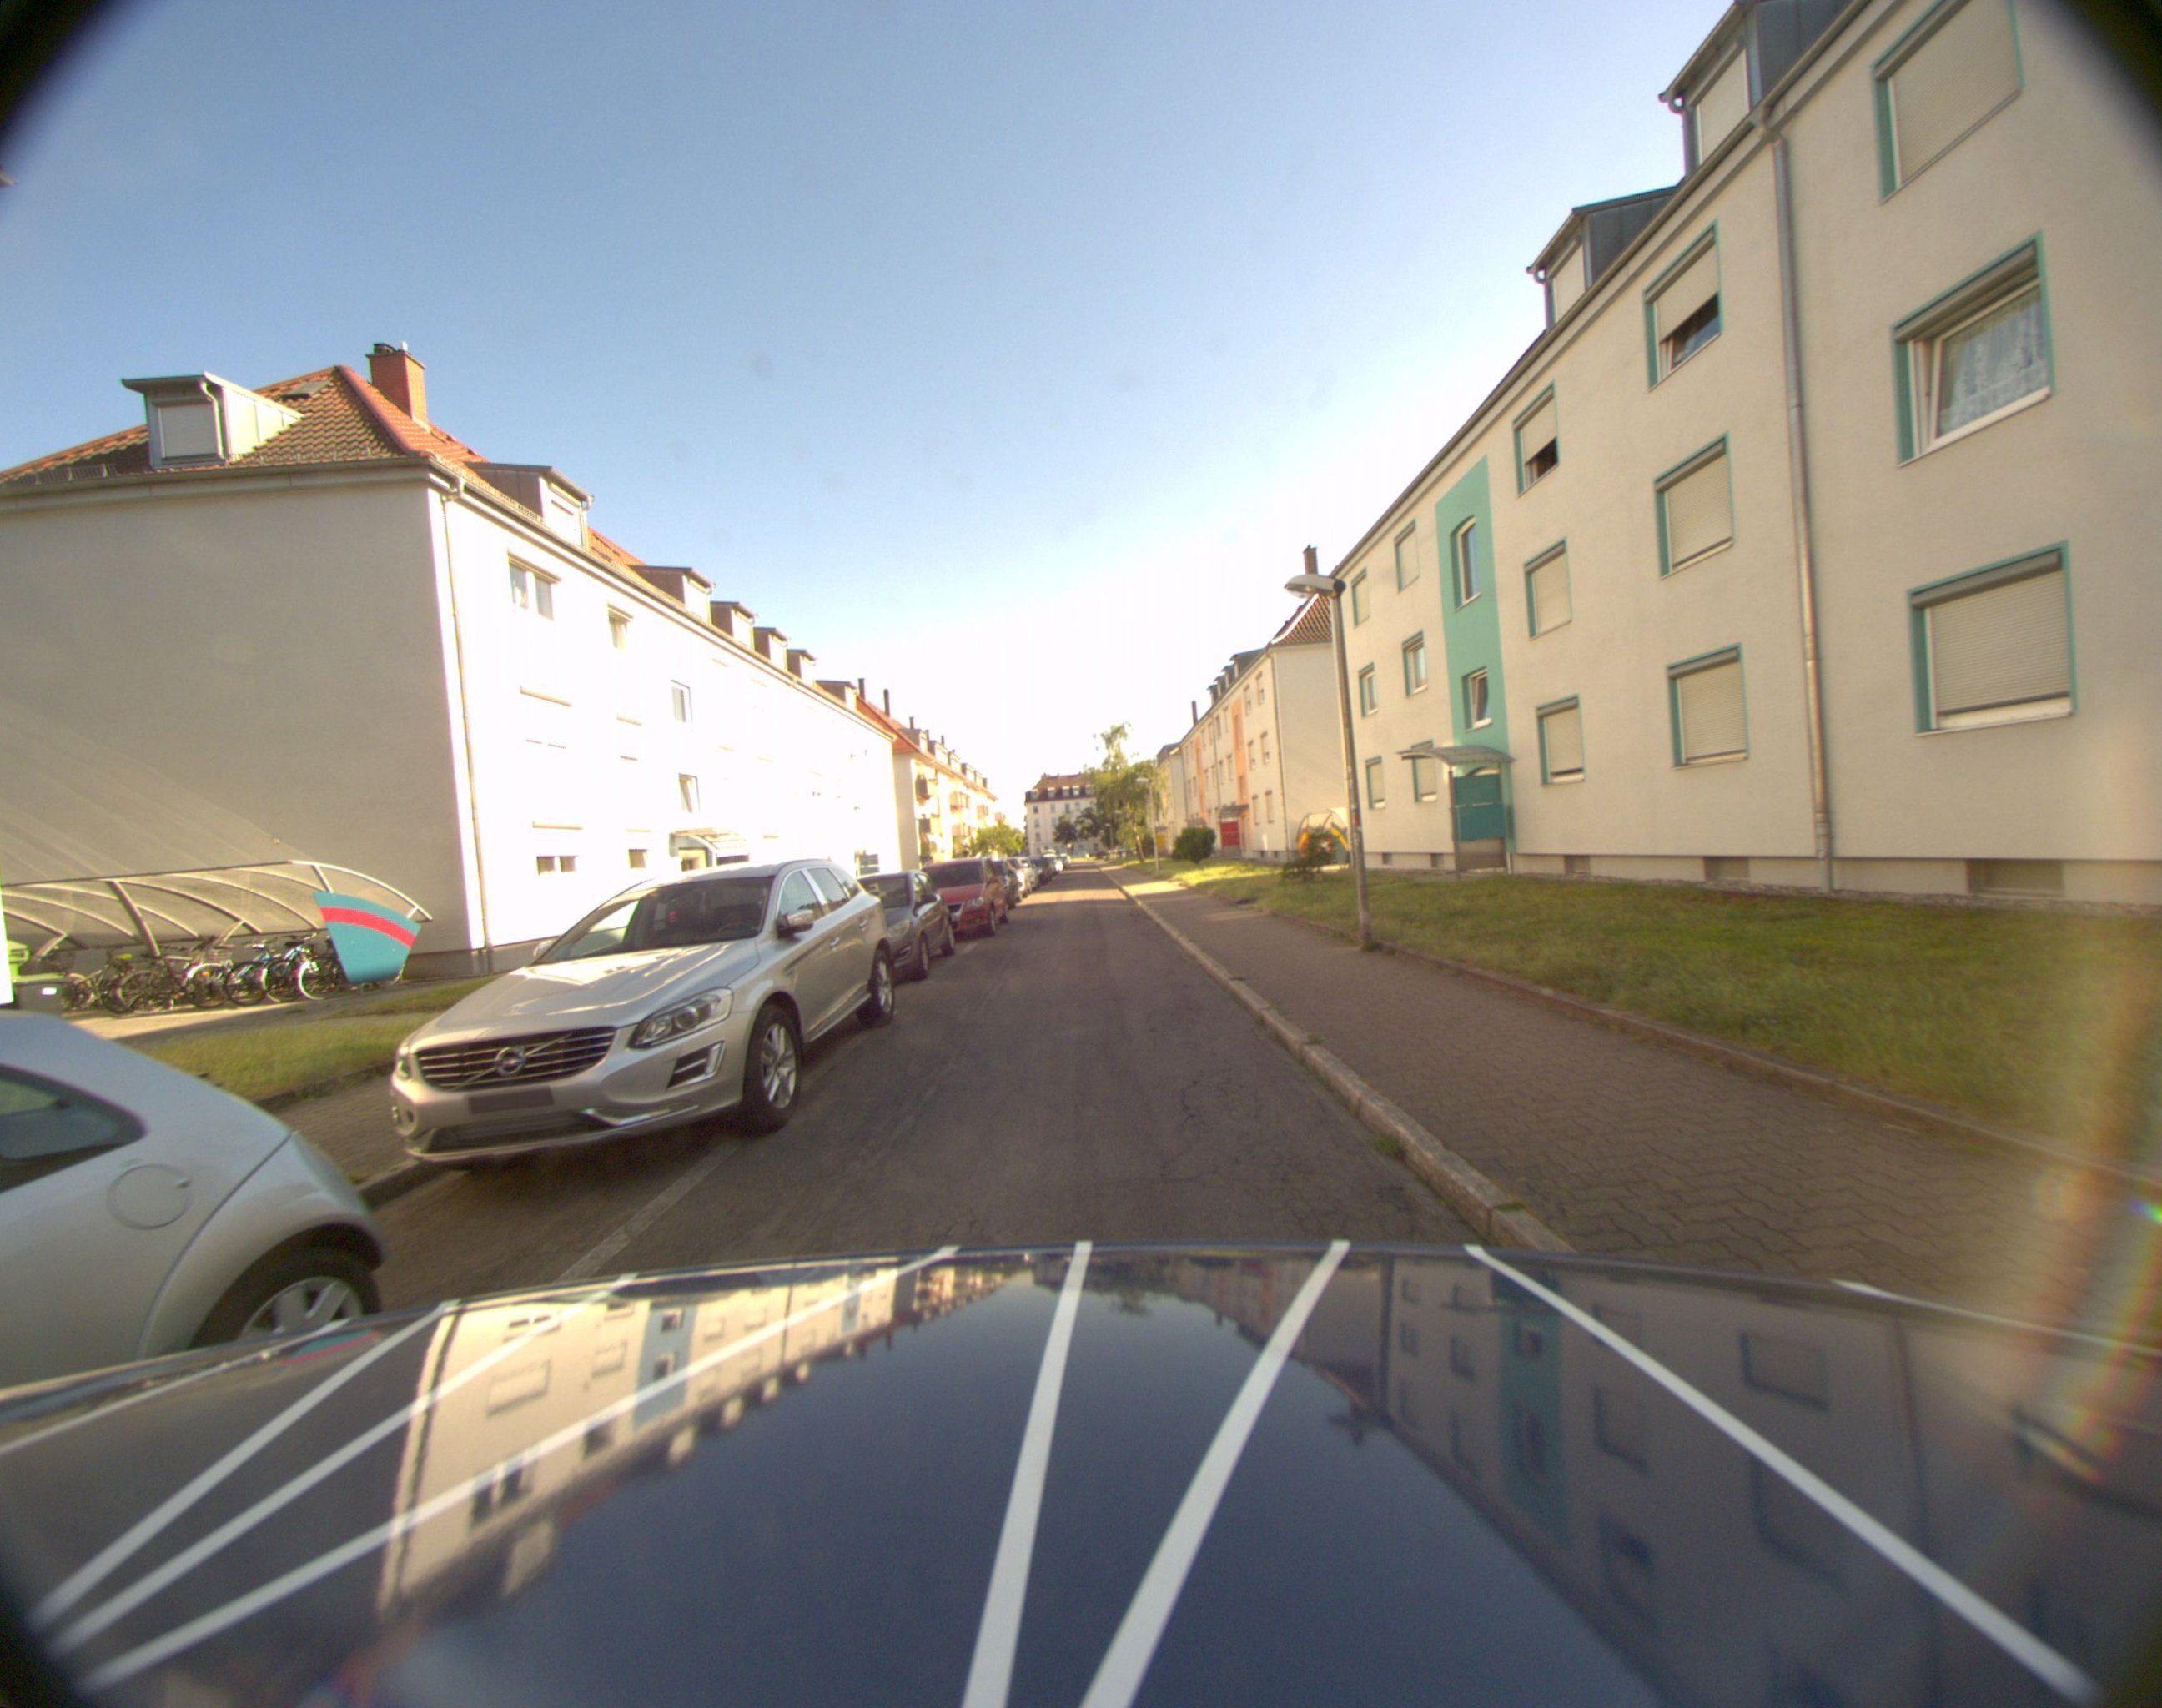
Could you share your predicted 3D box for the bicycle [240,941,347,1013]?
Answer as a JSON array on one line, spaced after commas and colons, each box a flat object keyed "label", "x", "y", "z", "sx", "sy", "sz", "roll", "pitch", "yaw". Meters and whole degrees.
[{"label": "bicycle", "x": -12.891, "y": 1.990, "z": 12.480, "sx": 0.319, "sy": 0.941, "sz": 1.283, "roll": -3, "pitch": 1, "yaw": 2}]

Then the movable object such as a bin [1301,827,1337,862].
[{"label": "movable object such as a bin", "x": 9.957, "y": -0.402, "z": 31.838, "sx": 1.167, "sy": 1.385, "sz": 0.877, "roll": -4, "pitch": 1, "yaw": 0}]

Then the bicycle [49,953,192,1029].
[{"label": "bicycle", "x": -15.681, "y": 2.206, "z": 12.461, "sx": 0.319, "sy": 0.941, "sz": 1.508, "roll": -3, "pitch": 1, "yaw": 2}]

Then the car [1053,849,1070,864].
[{"label": "car", "x": -2.248, "y": 0.275, "z": 90.011, "sx": 1.708, "sy": 1.562, "sz": 3.925, "roll": -4, "pitch": 2, "yaw": 1}]

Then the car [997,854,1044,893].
[{"label": "car", "x": -2.766, "y": 0.842, "z": 35.463, "sx": 1.709, "sy": 1.562, "sz": 4.040, "roll": -4, "pitch": 1, "yaw": 0}]

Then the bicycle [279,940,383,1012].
[{"label": "bicycle", "x": -12.198, "y": 1.969, "z": 12.402, "sx": 0.319, "sy": 0.941, "sz": 1.283, "roll": -3, "pitch": 1, "yaw": 2}]

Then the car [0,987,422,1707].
[{"label": "car", "x": -3.063, "y": 1.211, "z": 0.748, "sx": 1.632, "sy": 1.386, "sz": 3.488, "roll": -5, "pitch": 1, "yaw": 1}]

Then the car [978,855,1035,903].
[{"label": "car", "x": -2.823, "y": 0.927, "z": 29.696, "sx": 1.709, "sy": 1.562, "sz": 3.876, "roll": -4, "pitch": 1, "yaw": 0}]

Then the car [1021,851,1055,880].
[{"label": "car", "x": -2.619, "y": 0.641, "z": 46.729, "sx": 1.709, "sy": 1.562, "sz": 4.040, "roll": -4, "pitch": 1, "yaw": 0}]

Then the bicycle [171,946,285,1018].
[{"label": "bicycle", "x": -13.933, "y": 2.070, "z": 12.456, "sx": 0.319, "sy": 0.941, "sz": 1.283, "roll": -3, "pitch": 1, "yaw": 2}]

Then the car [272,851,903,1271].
[{"label": "car", "x": -2.759, "y": 0.941, "z": 5.654, "sx": 1.780, "sy": 1.709, "sz": 4.306, "roll": -7, "pitch": 1, "yaw": -2}]

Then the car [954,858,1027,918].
[{"label": "car", "x": -2.825, "y": 1.017, "z": 24.526, "sx": 1.709, "sy": 1.516, "sz": 3.876, "roll": -8, "pitch": 1, "yaw": 0}]

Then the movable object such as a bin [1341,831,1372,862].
[{"label": "movable object such as a bin", "x": 9.763, "y": -0.261, "z": 26.961, "sx": 0.753, "sy": 1.006, "sz": 0.763, "roll": -4, "pitch": 1, "yaw": 0}]

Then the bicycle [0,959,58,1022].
[{"label": "bicycle", "x": -18.358, "y": 2.358, "z": 12.574, "sx": 0.422, "sy": 0.941, "sz": 1.739, "roll": -3, "pitch": 1, "yaw": 1}]

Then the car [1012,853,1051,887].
[{"label": "car", "x": -2.632, "y": 0.819, "z": 41.325, "sx": 1.709, "sy": 1.562, "sz": 4.040, "roll": -4, "pitch": 1, "yaw": 0}]

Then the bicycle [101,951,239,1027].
[{"label": "bicycle", "x": -14.749, "y": 2.158, "z": 12.360, "sx": 0.319, "sy": 0.941, "sz": 1.508, "roll": -3, "pitch": 1, "yaw": 2}]

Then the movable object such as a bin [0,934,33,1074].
[{"label": "movable object such as a bin", "x": -12.495, "y": 1.720, "z": 8.474, "sx": 0.595, "sy": 1.543, "sz": 0.624, "roll": -4, "pitch": 1, "yaw": 1}]

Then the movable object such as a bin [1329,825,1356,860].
[{"label": "movable object such as a bin", "x": 10.955, "y": -0.484, "z": 31.849, "sx": 0.753, "sy": 1.385, "sz": 0.763, "roll": -4, "pitch": 1, "yaw": 0}]

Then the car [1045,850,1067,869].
[{"label": "car", "x": -2.343, "y": 0.475, "z": 72.491, "sx": 1.708, "sy": 1.562, "sz": 4.734, "roll": -4, "pitch": 1, "yaw": 1}]

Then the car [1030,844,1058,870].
[{"label": "car", "x": -3.131, "y": 0.220, "z": 65.702, "sx": 1.953, "sy": 1.890, "sz": 4.763, "roll": -4, "pitch": 2, "yaw": 1}]

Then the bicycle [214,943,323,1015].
[{"label": "bicycle", "x": -13.387, "y": 2.039, "z": 12.567, "sx": 0.319, "sy": 0.941, "sz": 1.283, "roll": -3, "pitch": 1, "yaw": 2}]

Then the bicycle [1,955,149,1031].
[{"label": "bicycle", "x": -16.470, "y": 2.248, "z": 12.493, "sx": 0.319, "sy": 0.941, "sz": 1.508, "roll": -3, "pitch": 1, "yaw": 2}]

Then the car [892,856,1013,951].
[{"label": "car", "x": -2.611, "y": 0.945, "z": 16.462, "sx": 1.731, "sy": 1.597, "sz": 4.423, "roll": -4, "pitch": 1, "yaw": 0}]

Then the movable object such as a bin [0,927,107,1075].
[{"label": "movable object such as a bin", "x": -11.859, "y": 1.654, "z": 8.645, "sx": 0.595, "sy": 1.543, "sz": 0.624, "roll": -4, "pitch": 1, "yaw": 1}]

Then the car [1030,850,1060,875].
[{"label": "car", "x": -2.697, "y": 0.629, "z": 57.455, "sx": 1.708, "sy": 1.562, "sz": 4.381, "roll": -4, "pitch": 2, "yaw": 3}]

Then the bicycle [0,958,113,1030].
[{"label": "bicycle", "x": -17.537, "y": 2.352, "z": 12.694, "sx": 0.422, "sy": 0.941, "sz": 1.739, "roll": -3, "pitch": 1, "yaw": 1}]

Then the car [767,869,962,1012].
[{"label": "car", "x": -2.922, "y": 1.091, "z": 11.157, "sx": 1.621, "sy": 1.441, "sz": 3.856, "roll": -7, "pitch": 1, "yaw": 0}]
